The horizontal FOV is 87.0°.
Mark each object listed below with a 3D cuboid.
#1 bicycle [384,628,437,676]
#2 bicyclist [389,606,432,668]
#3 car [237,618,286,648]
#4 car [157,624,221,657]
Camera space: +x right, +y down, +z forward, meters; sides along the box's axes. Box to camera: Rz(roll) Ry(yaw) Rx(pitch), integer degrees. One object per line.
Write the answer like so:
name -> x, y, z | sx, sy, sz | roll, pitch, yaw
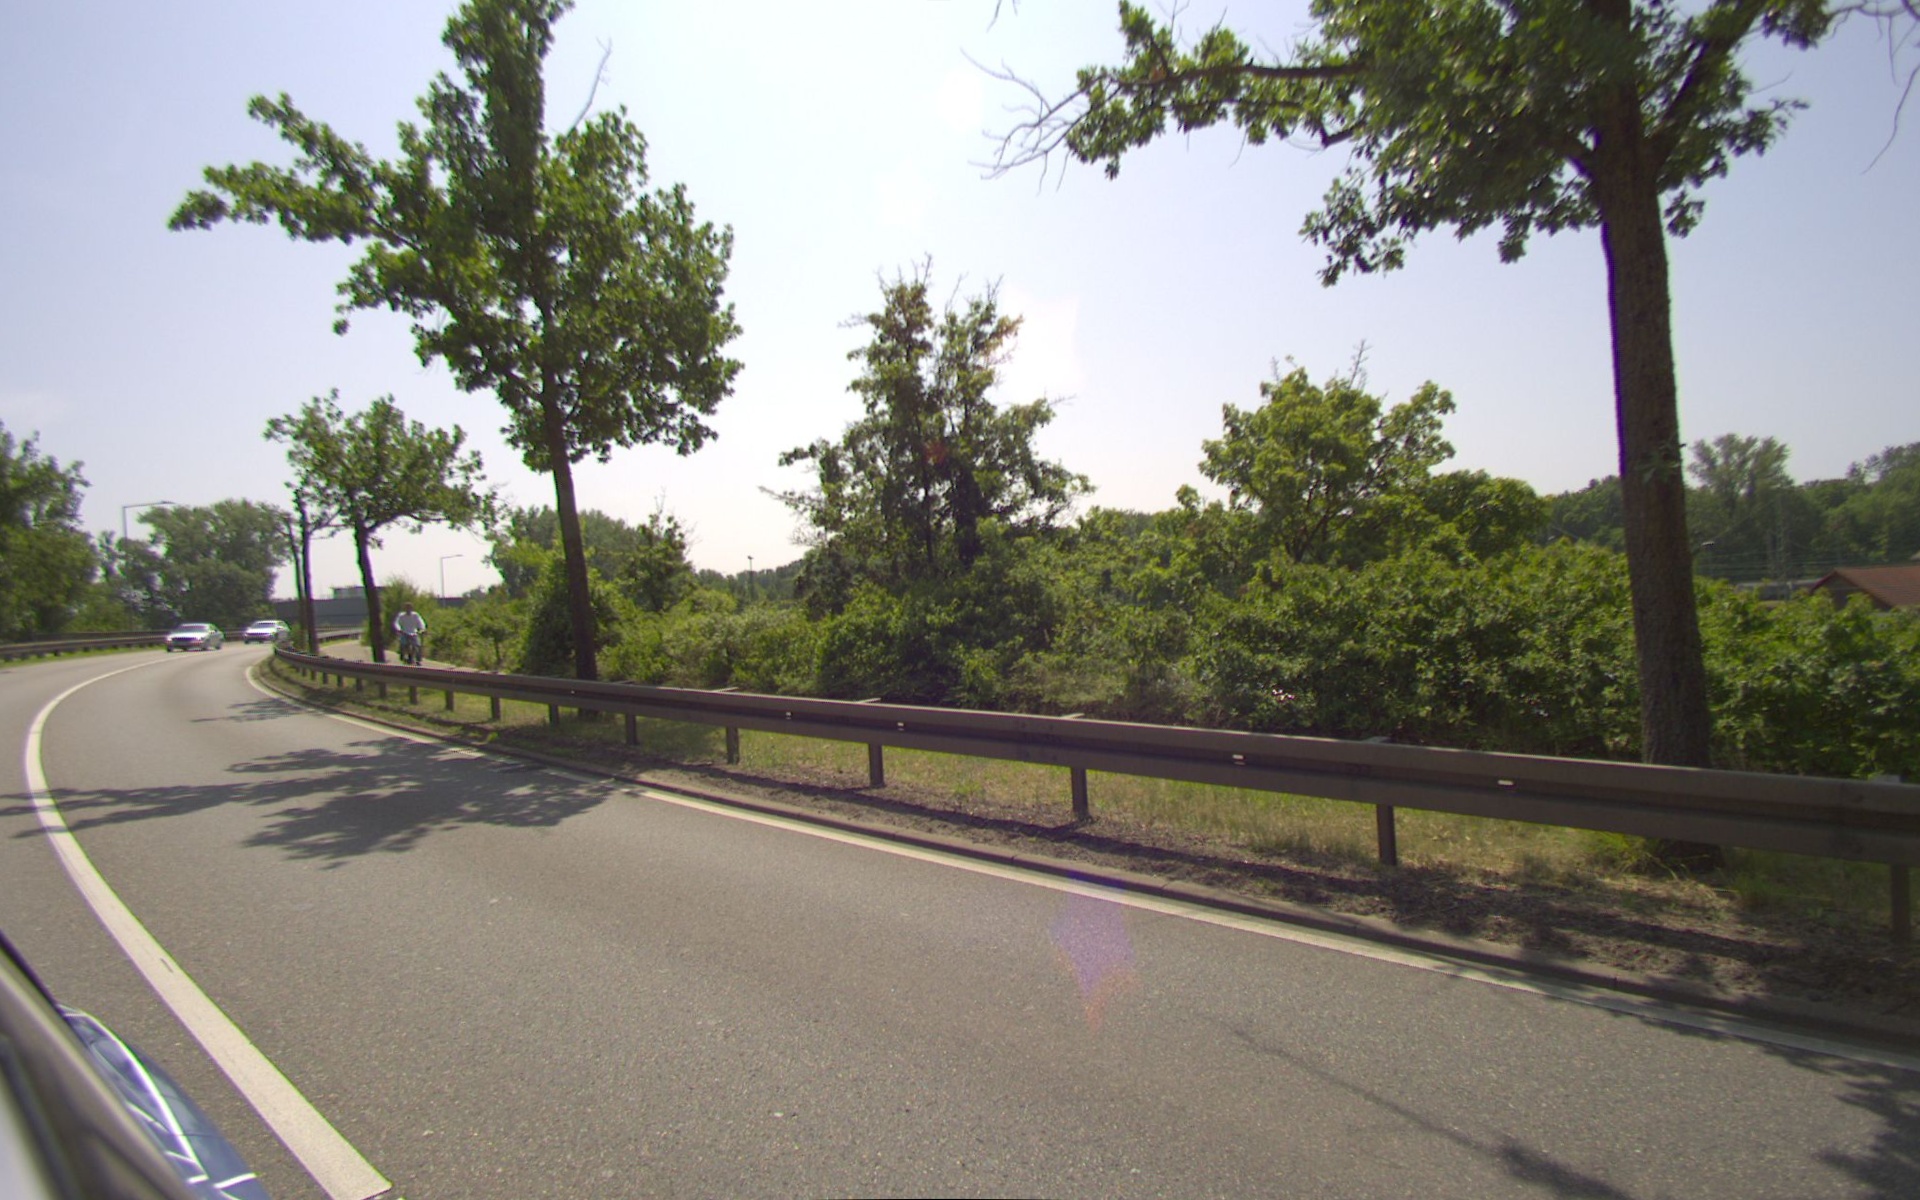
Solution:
bicycle -> -13.459, 1.253, 24.753 | 0.725, 1.125, 2.049 | 2, -2, -40
bicyclist -> -13.422, 0.891, 24.712 | 0.720, 1.477, 0.825 | 2, -2, -41
car -> -45.815, 2.154, 66.451 | 1.769, 1.796, 4.307 | -1, 0, -23
car -> -39.848, 2.042, 52.387 | 1.734, 1.510, 4.247 | -1, 0, -25
